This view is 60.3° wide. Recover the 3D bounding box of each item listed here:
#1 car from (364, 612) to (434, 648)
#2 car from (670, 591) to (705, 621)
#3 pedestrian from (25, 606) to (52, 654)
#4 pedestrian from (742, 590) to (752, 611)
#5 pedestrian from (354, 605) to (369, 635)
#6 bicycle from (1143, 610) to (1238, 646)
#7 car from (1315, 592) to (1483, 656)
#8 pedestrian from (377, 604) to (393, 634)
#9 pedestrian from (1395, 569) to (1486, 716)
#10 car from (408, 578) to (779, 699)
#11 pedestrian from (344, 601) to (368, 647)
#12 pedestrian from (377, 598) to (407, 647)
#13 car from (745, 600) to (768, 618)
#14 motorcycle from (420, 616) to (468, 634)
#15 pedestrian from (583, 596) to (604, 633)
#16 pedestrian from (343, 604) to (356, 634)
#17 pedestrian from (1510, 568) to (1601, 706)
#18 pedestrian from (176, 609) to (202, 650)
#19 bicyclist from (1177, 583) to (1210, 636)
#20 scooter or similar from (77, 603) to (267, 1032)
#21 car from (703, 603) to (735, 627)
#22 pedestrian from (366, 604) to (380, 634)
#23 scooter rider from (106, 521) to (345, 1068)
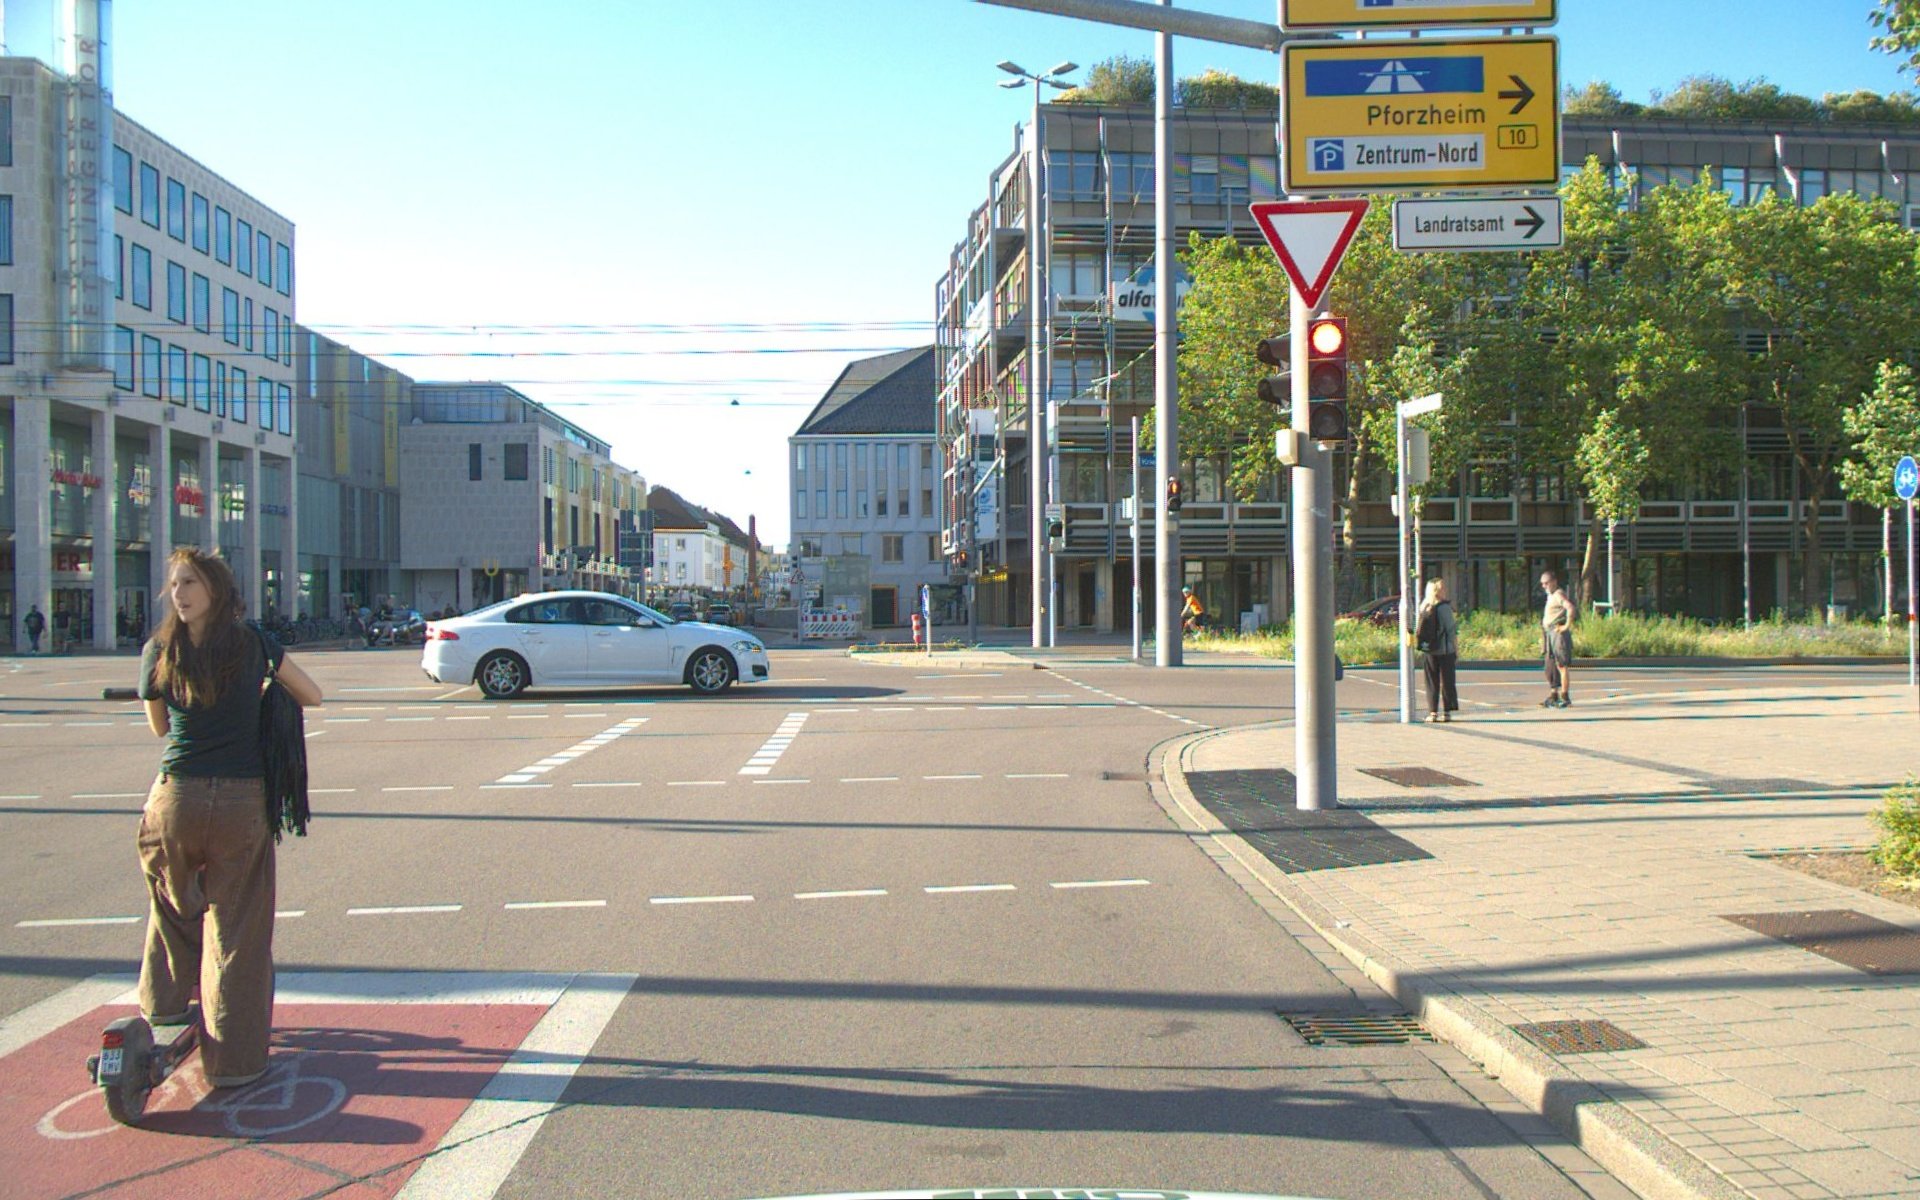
[{"bbox_3d":[-23.536,1.238,69.530,1.642,1.381,4.019,-1,0,-2],"label":"car"},{"bbox_3d":[-15.821,0.348,96.211,1.785,1.713,3.994,-1,0,-7],"label":"car"},{"bbox_3d":[-32.871,1.065,59.015,0.580,1.674,0.629,-1,0,-1],"label":"pedestrian"},{"bbox_3d":[-21.161,0.042,164.358,0.892,1.999,0.822,1,-1,-1],"label":"pedestrian"},{"bbox_3d":[-34.782,1.148,96.130,0.462,1.759,0.626,1,-1,33],"label":"pedestrian"},{"bbox_3d":[6.568,0.791,47.204,2.517,0.992,1.047,-1,0,-4],"label":"bicycle"},{"bbox_3d":[12.332,0.644,46.592,4.212,1.713,1.820,-1,0,-11],"label":"car"},{"bbox_3d":[-33.748,1.137,97.107,0.462,1.759,0.692,0,-1,37],"label":"pedestrian"},{"bbox_3d":[5.507,0.479,18.998,0.750,1.642,0.874,-1,0,-2],"label":"pedestrian"},{"bbox_3d":[-5.219,0.508,23.855,4.996,1.592,1.993,-1,0,-14],"label":"car"},{"bbox_3d":[-22.959,0.899,62.857,0.685,1.718,0.619,-1,0,0],"label":"pedestrian"},{"bbox_3d":[-21.975,0.860,63.977,0.923,1.897,0.539,-1,0,16],"label":"pedestrian"},{"bbox_3d":[-17.907,0.796,145.718,1.625,1.484,3.541,-1,0,-1],"label":"car"},{"bbox_3d":[-30.424,1.473,97.523,2.555,1.010,1.113,1,0,-10],"label":"motorcycle"},{"bbox_3d":[-17.835,0.702,80.490,0.881,1.814,0.808,0,0,-1],"label":"pedestrian"},{"bbox_3d":[-35.976,1.133,97.527,0.462,1.759,0.518,0,-1,38],"label":"pedestrian"},{"bbox_3d":[7.635,0.466,21.223,0.854,1.736,0.768,-1,0,-3],"label":"pedestrian"},{"bbox_3d":[-31.921,1.206,68.477,0.760,1.667,0.626,-1,0,12],"label":"pedestrian"},{"bbox_3d":[6.669,0.273,47.220,0.806,1.500,0.652,-1,0,-5],"label":"bicyclist"},{"bbox_3d":[-2.266,0.575,4.810,0.301,1.127,0.836,-1,0,-12],"label":"scooter or similar"},{"bbox_3d":[-15.704,0.956,107.820,1.625,1.484,3.541,-1,0,-1],"label":"car"},{"bbox_3d":[-35.073,1.154,98.826,0.461,1.759,0.627,1,-1,28],"label":"pedestrian"},{"bbox_3d":[-2.191,0.550,4.979,0.542,1.556,0.448,-1,0,-9],"label":"scooter rider"}]
